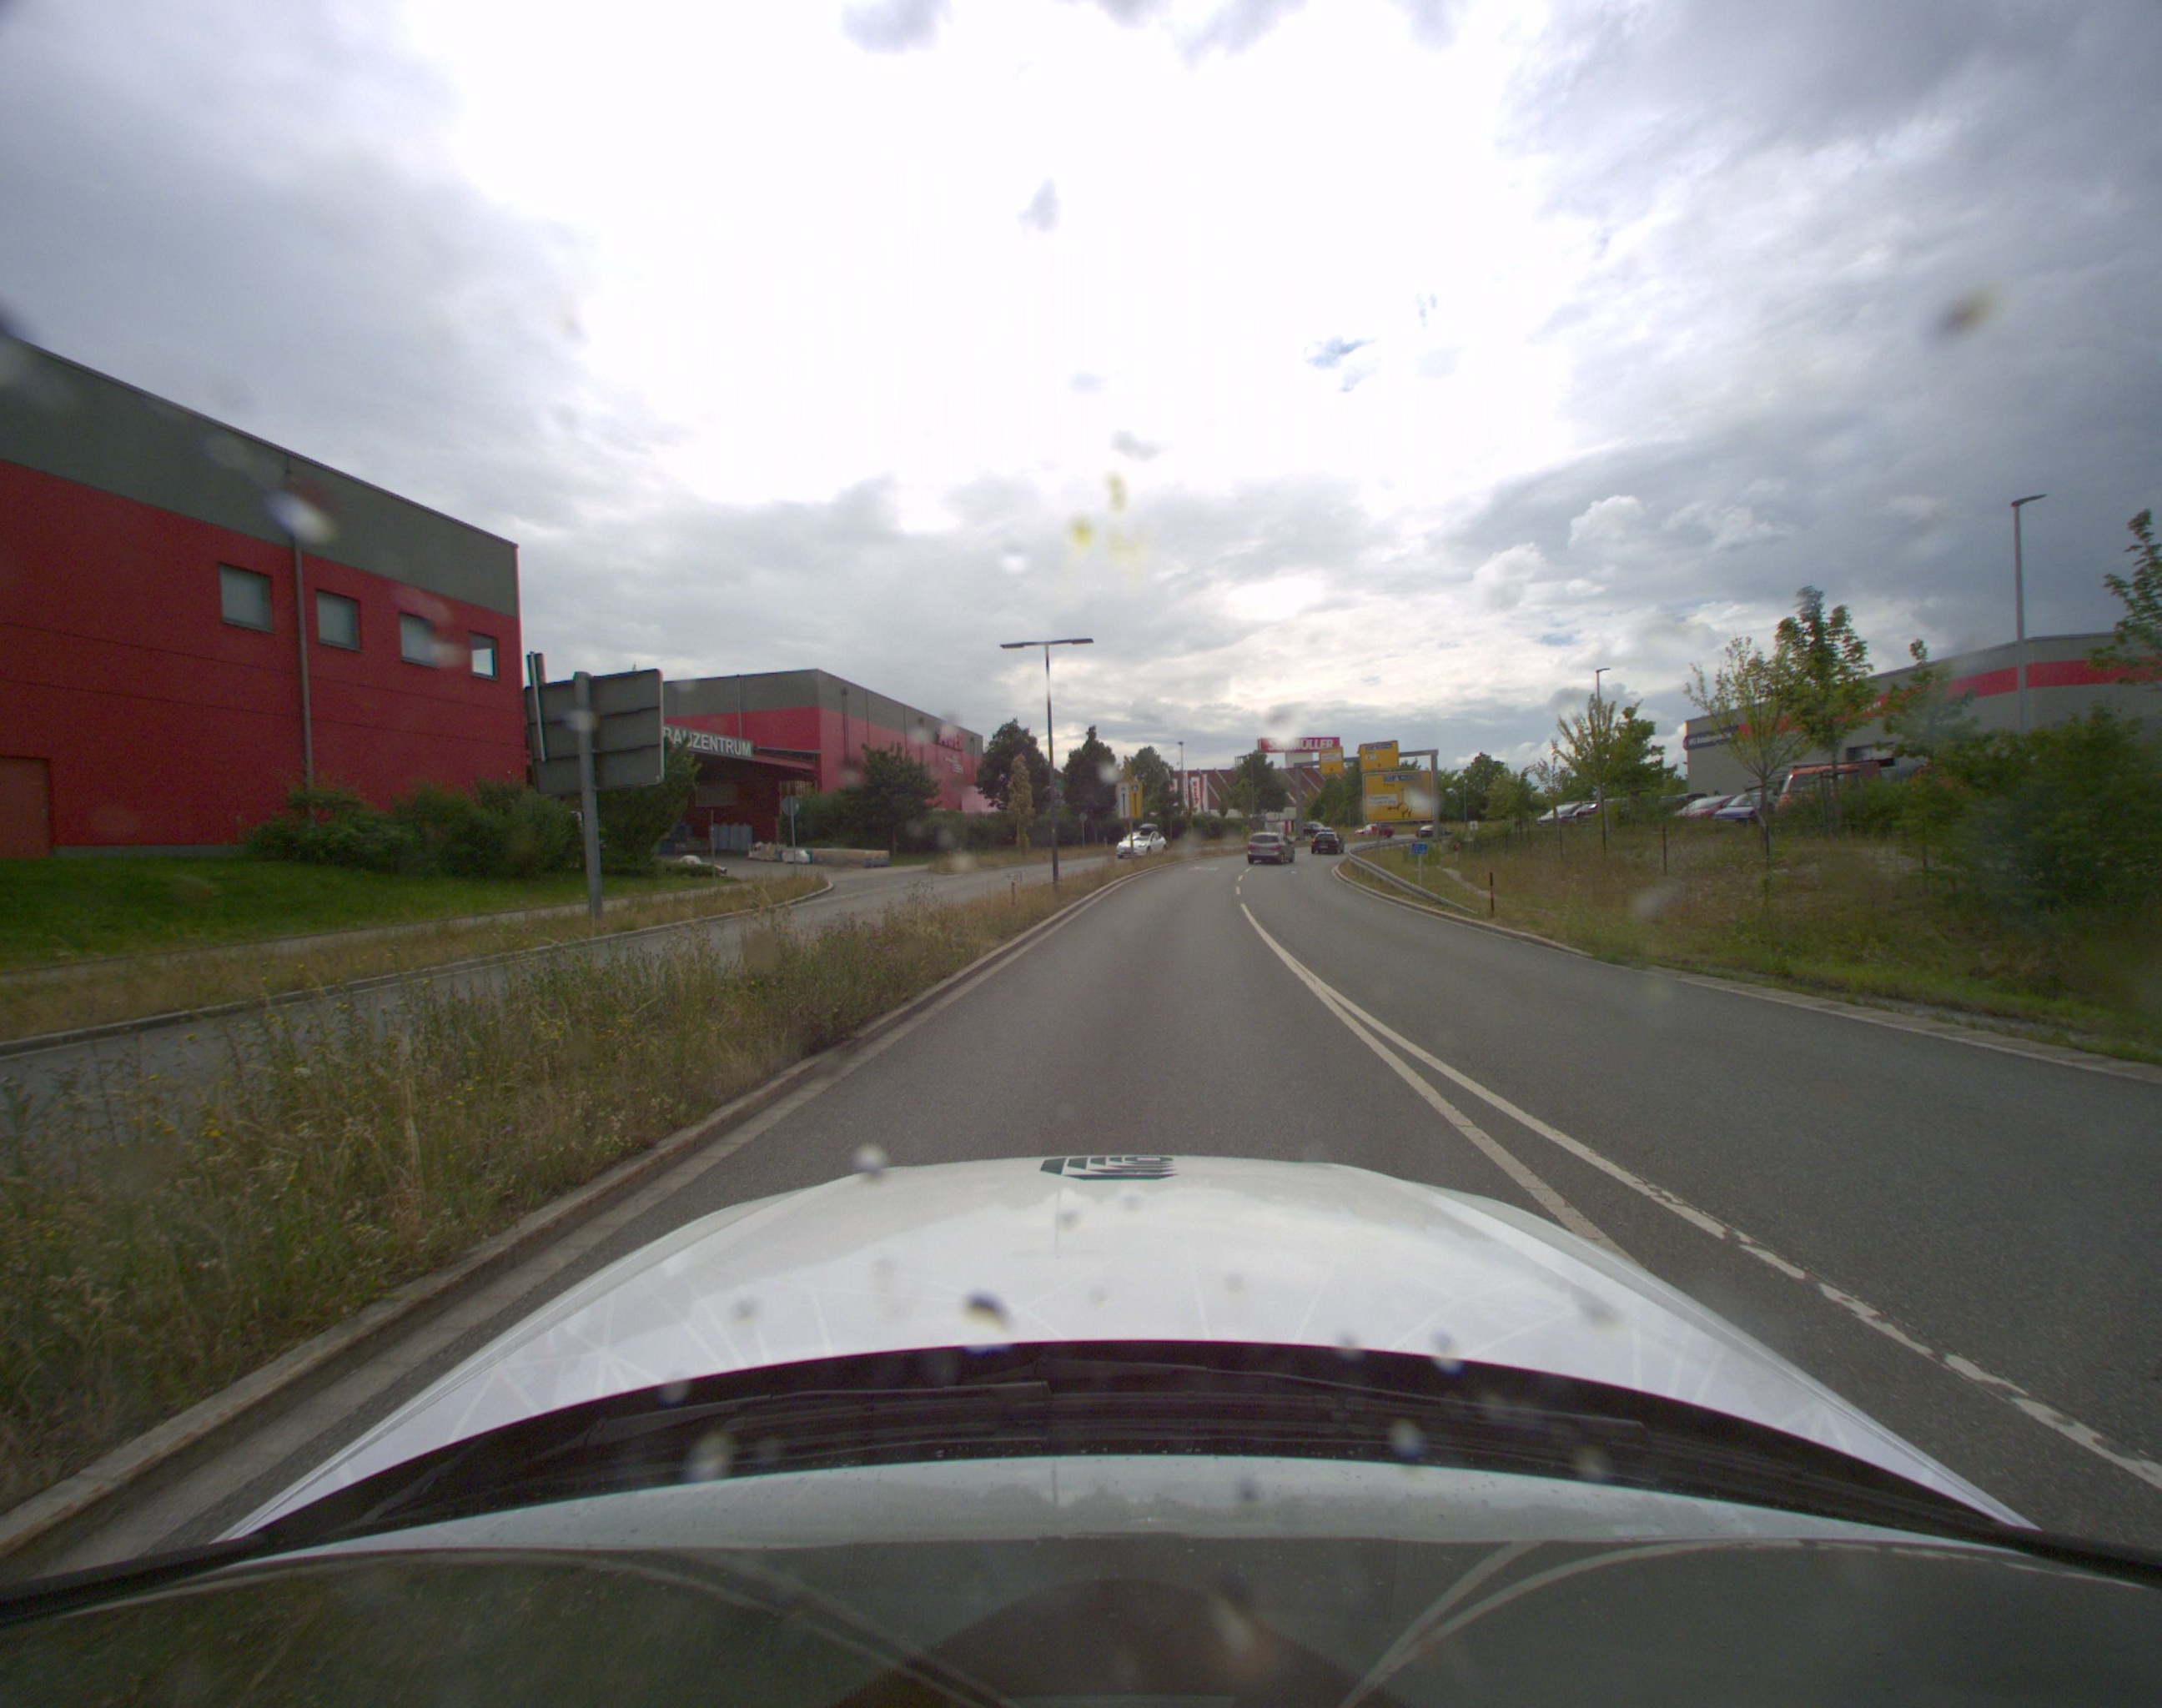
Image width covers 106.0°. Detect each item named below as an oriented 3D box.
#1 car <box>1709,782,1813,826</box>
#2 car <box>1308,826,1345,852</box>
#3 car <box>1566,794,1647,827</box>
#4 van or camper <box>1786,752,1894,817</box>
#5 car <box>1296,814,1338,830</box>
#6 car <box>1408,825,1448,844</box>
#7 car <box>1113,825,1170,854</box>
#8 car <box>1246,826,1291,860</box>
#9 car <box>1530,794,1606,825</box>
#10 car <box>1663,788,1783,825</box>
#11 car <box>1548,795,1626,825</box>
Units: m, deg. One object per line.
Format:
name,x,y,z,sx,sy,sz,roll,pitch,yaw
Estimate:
car,26.512,-1.947,31.777,3.303,1.381,1.493,-5,1,-16
car,16.317,-0.996,54.096,1.852,1.605,3.756,-1,1,24
car,28.036,-2.318,43.448,3.730,1.652,1.511,0,3,-16
van or camper,27.603,-2.552,29.564,4.696,1.996,1.794,-6,2,-34
car,24.679,-3.347,85.298,1.876,1.549,4.223,-2,3,-24
car,32.103,-1.827,75.334,4.023,1.618,1.889,-2,1,-43
car,3.703,-0.916,49.080,1.892,1.625,4.664,2,3,24
car,9.779,-0.581,42.238,1.753,1.616,3.941,3,2,19
car,29.291,-2.649,48.987,4.172,1.782,1.792,0,3,-22
car,27.334,-2.025,34.708,4.584,1.400,1.694,-2,1,-17
car,28.943,-2.523,46.620,3.857,1.652,1.723,0,3,-19
